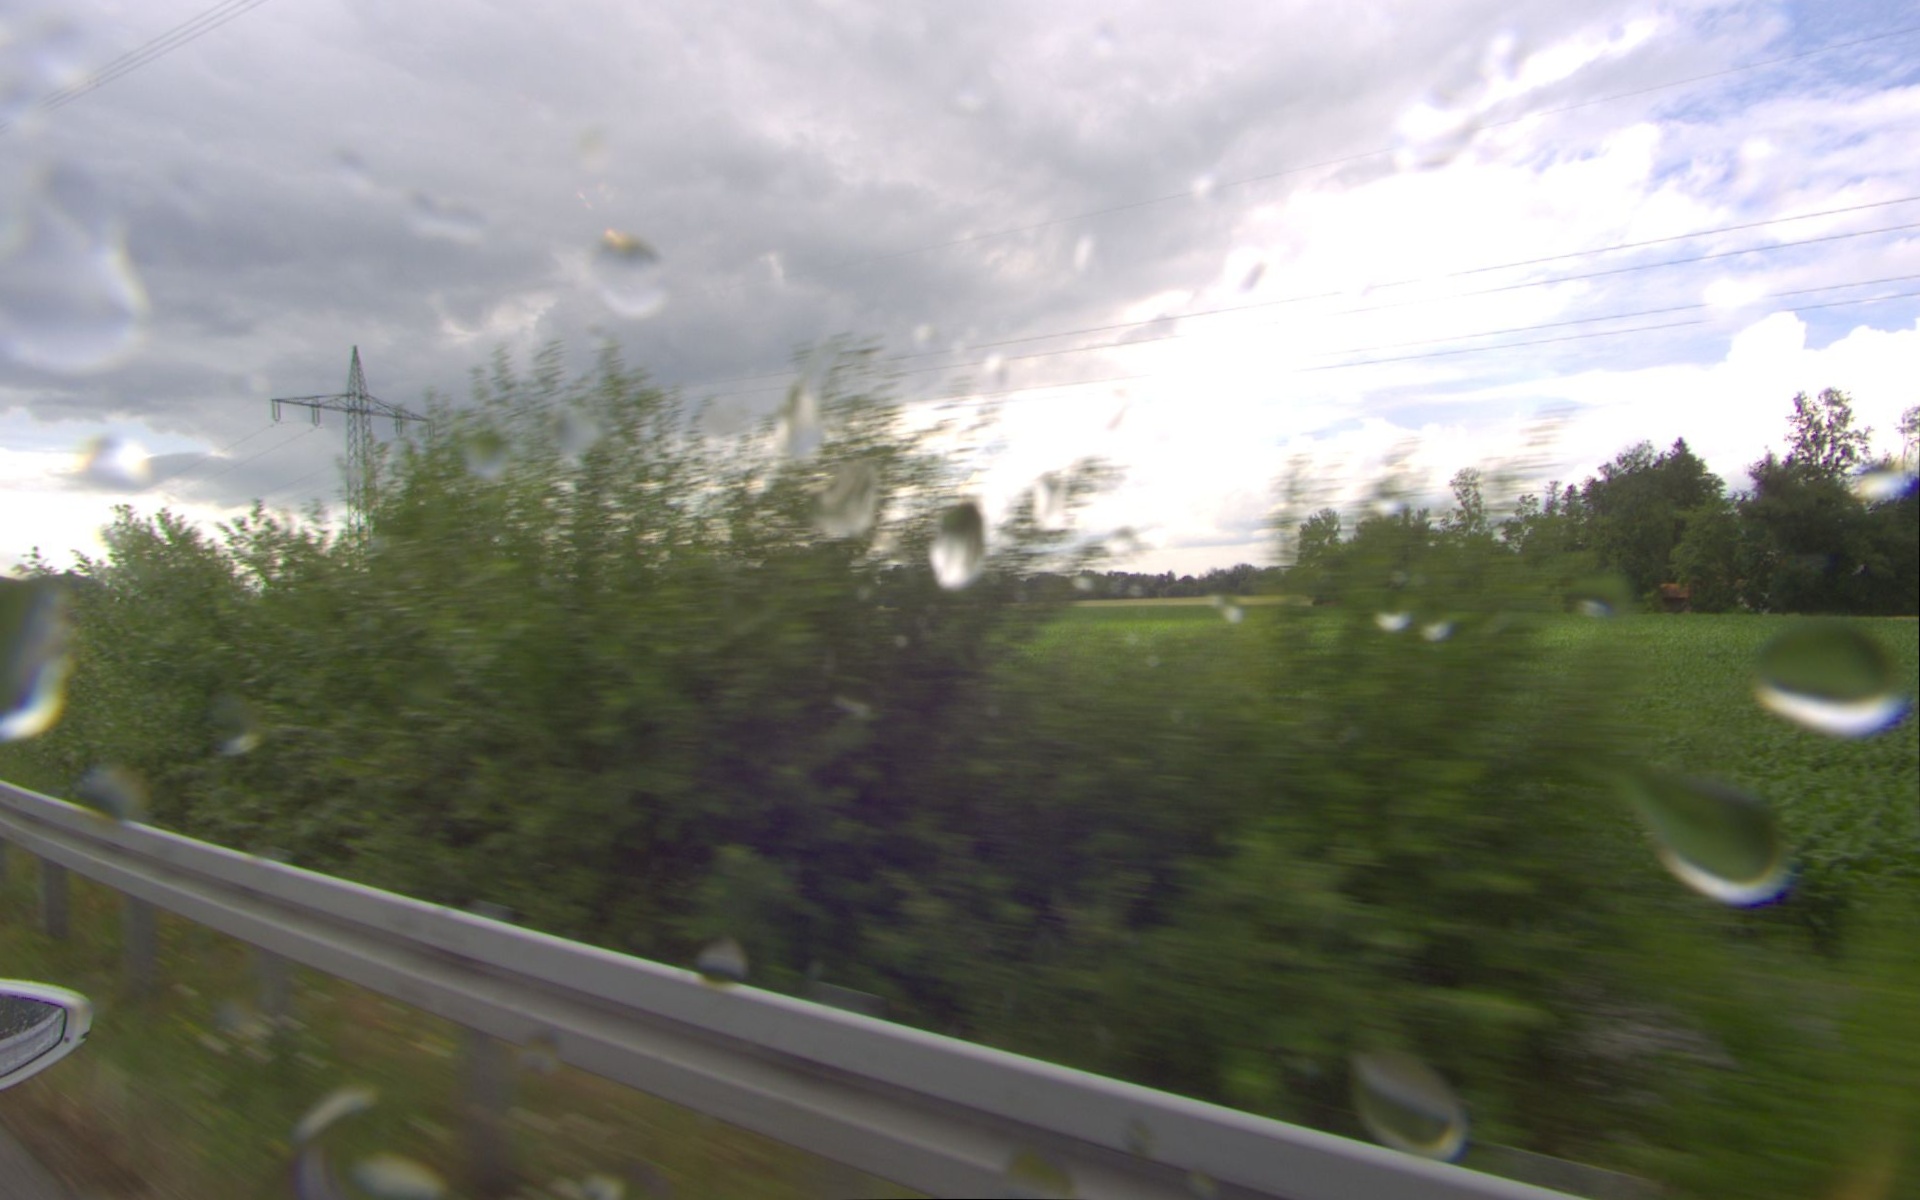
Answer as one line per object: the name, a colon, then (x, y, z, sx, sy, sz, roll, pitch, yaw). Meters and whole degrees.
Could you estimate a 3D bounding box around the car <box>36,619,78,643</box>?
car: (-124.530, 4.258, 138.069, 7.119, 2.992, 3.122, 1, 2, 39)

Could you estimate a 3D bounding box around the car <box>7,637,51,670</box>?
car: (-76.254, 4.351, 82.098, 2.332, 2.338, 5.083, -2, 2, -40)
